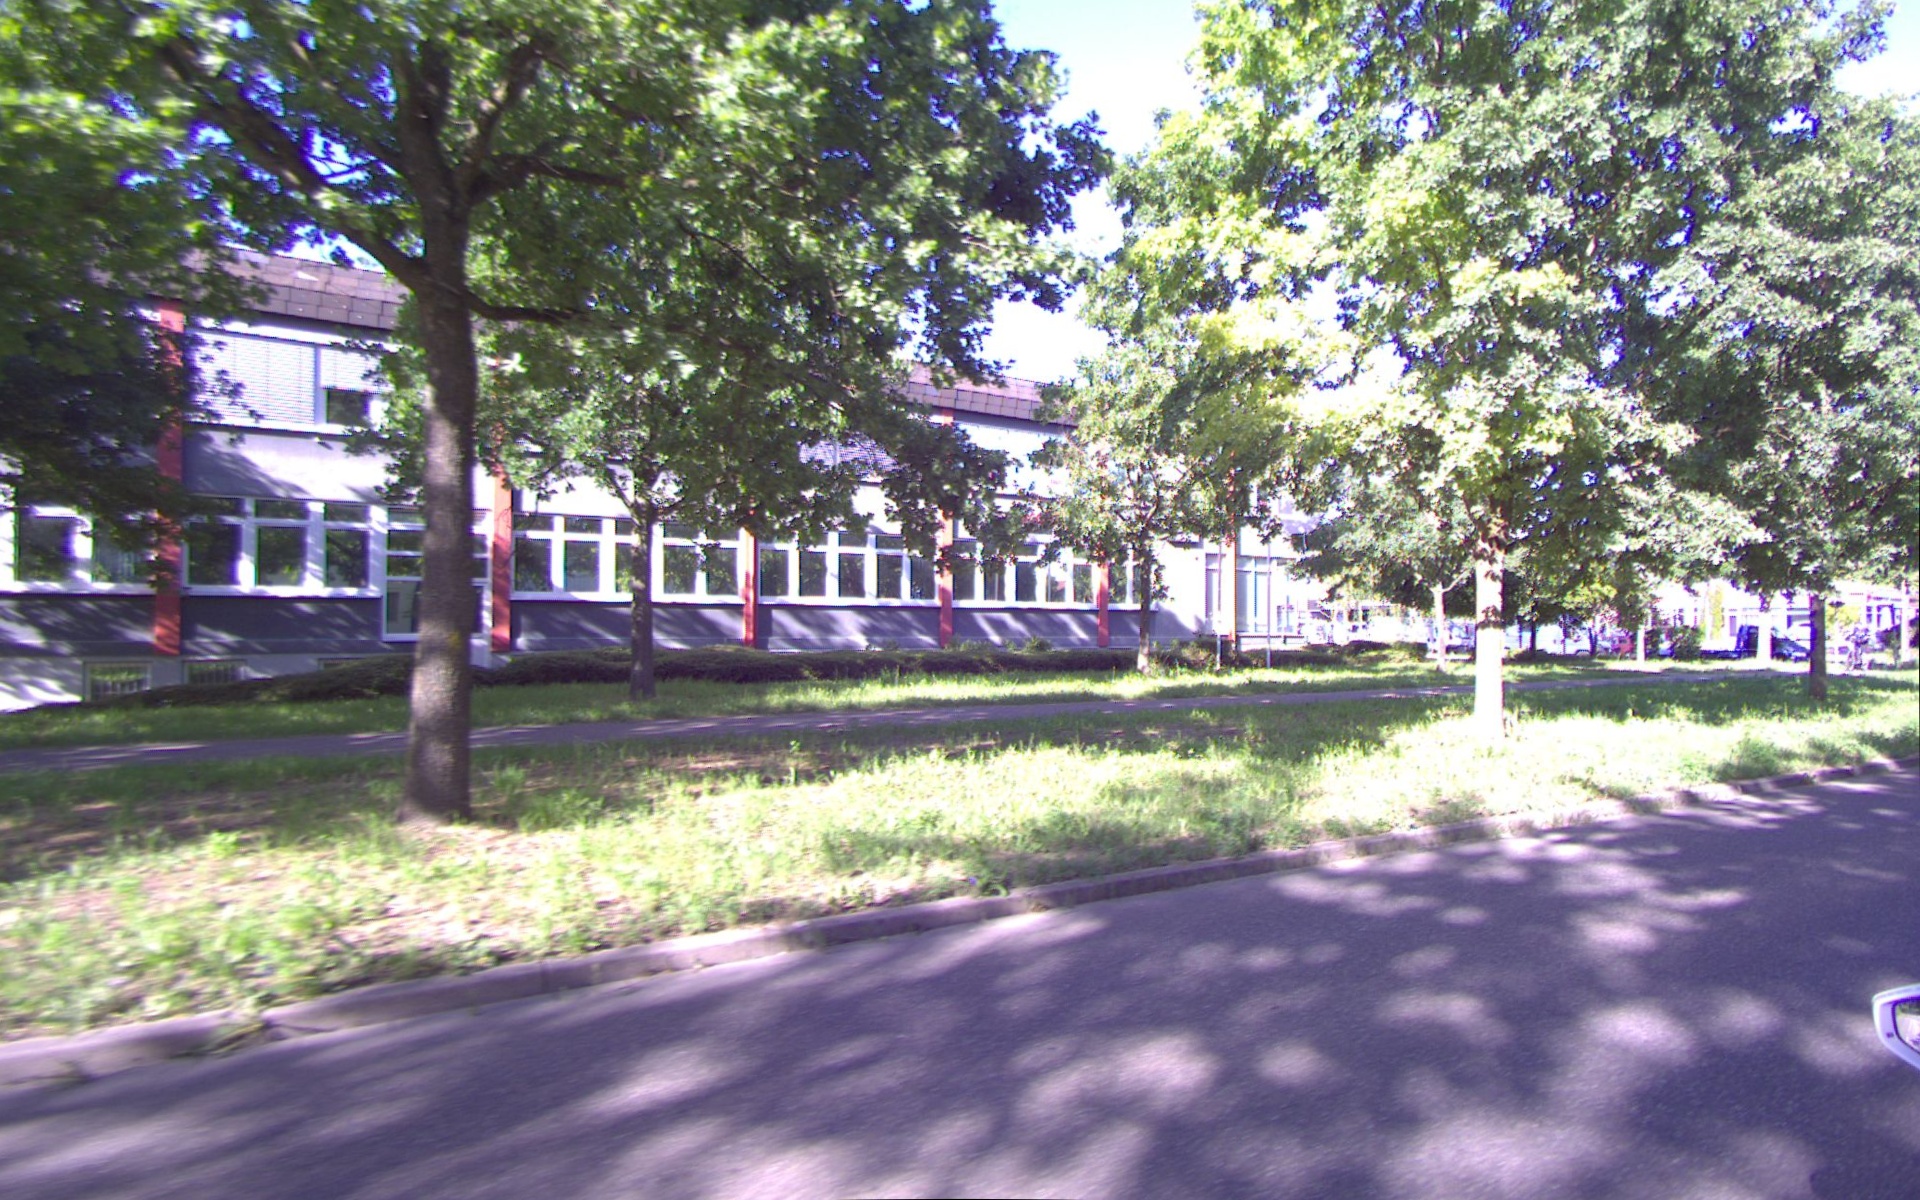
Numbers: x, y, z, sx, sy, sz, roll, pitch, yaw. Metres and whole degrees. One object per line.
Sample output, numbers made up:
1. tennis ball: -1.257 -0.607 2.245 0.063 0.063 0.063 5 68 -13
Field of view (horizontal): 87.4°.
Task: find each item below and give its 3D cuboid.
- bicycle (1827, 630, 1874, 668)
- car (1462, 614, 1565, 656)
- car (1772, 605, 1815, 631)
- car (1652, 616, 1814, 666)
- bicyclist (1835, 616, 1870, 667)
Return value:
1. bicycle: 32.912 1.800 37.103 1.968 1.339 0.713 1 1 -31
2. car: 23.691 1.465 43.078 1.972 1.664 3.350 1 0 -24
3. car: 73.442 1.622 88.477 3.961 2.265 1.980 1 -1 -36
4. car: 36.383 1.876 47.440 1.983 2.040 5.743 1 0 -39
5. bicyclist: 32.986 1.517 37.109 0.923 1.855 0.683 1 1 -30
